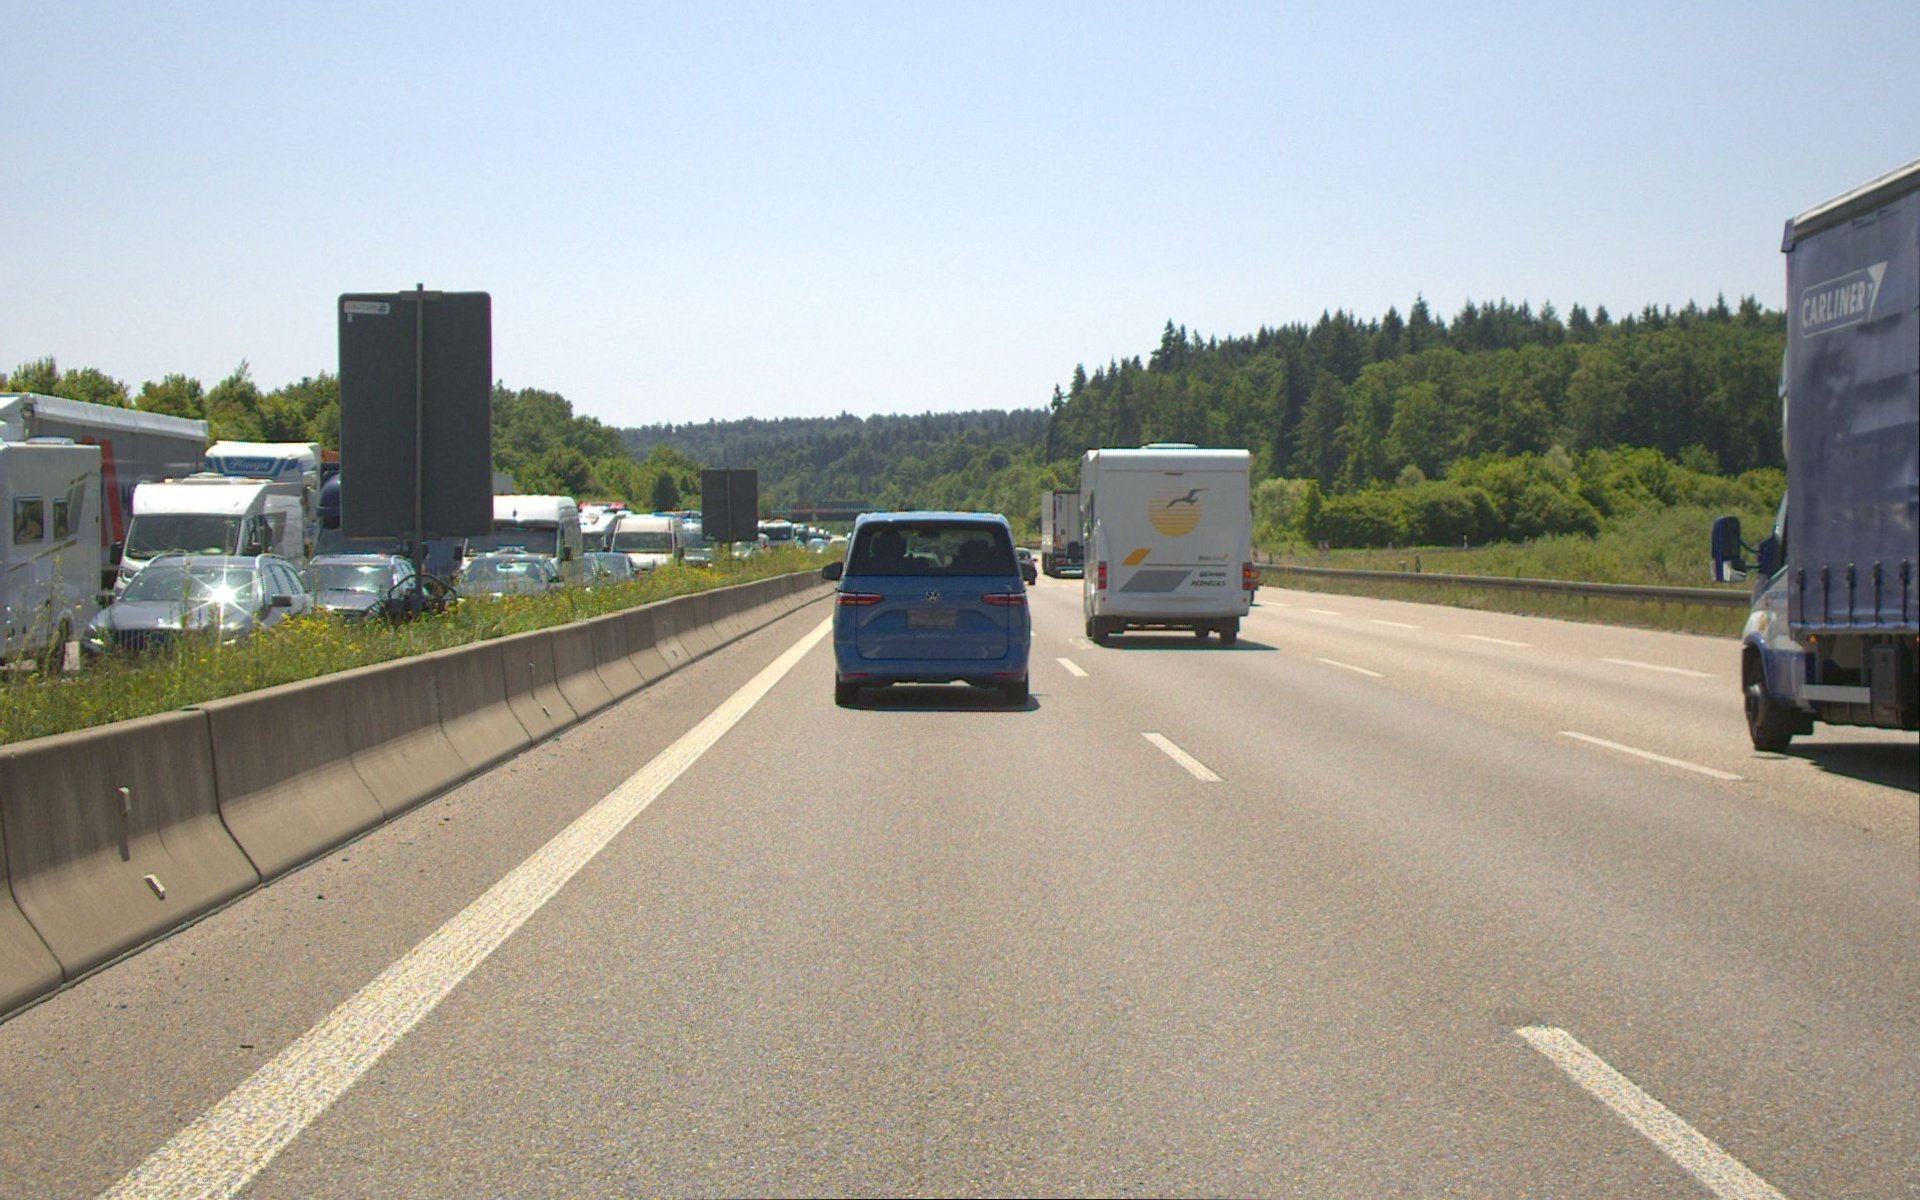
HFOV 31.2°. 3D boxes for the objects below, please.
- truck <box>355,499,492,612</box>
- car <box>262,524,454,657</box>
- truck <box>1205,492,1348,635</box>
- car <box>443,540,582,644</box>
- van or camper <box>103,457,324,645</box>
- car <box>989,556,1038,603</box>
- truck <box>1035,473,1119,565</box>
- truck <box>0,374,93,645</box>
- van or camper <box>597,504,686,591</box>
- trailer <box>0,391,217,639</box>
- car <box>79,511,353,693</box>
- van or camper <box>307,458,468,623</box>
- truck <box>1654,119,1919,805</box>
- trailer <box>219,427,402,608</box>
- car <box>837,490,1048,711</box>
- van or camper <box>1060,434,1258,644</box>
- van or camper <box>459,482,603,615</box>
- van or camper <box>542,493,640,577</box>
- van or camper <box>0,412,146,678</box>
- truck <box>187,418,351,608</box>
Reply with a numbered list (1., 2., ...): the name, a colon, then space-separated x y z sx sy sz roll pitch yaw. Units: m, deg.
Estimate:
1. truck: -12.450 -1.034 80.216 2.234 2.497 6.863 0 1 -1
2. car: -8.292 -0.149 47.756 1.811 1.724 4.973 1 1 0
3. truck: 8.325 -1.047 91.321 2.928 3.562 8.527 -1 2 0
4. car: -7.779 -0.155 60.165 1.811 1.724 4.935 1 1 0
5. van or camper: -12.338 -0.809 57.362 2.151 2.913 7.224 1 1 -1
6. car: 2.091 -0.816 135.287 1.818 1.788 3.894 1 1 -1
7. truck: 5.399 -3.721 160.365 3.487 4.156 8.642 1 1 -1
8. truck: -15.989 -1.410 54.794 2.801 4.113 6.141 1 1 0
9. van or camper: -9.401 -1.548 101.921 2.193 2.497 6.059 0 1 -1
10. trailer: -16.081 -1.456 62.075 2.780 4.020 12.251 1 1 -1
11. car: -7.991 -0.010 37.426 1.811 1.803 5.543 1 1 0
12. van or camper: -12.316 -1.269 74.470 2.312 3.378 7.680 0 1 -1
13. truck: 7.087 -0.839 22.541 2.783 4.114 9.741 1 1 -2
14. trailer: -16.574 -2.045 88.543 2.611 4.295 12.001 1 1 -1
15. car: -0.199 -0.047 34.208 1.909 2.007 4.000 2 1 -1
16. van or camper: 3.045 -0.970 54.412 2.603 3.068 7.182 1 1 -1
17. van or camper: -8.545 -1.021 69.089 2.193 2.532 6.417 0 1 -1
18. van or camper: -13.219 -2.297 123.598 2.545 2.927 7.827 0 1 1
19. van or camper: -12.049 -0.659 40.896 2.841 2.938 8.113 1 1 0
20. truck: -16.453 -2.030 82.335 2.589 4.311 7.294 1 1 -2
